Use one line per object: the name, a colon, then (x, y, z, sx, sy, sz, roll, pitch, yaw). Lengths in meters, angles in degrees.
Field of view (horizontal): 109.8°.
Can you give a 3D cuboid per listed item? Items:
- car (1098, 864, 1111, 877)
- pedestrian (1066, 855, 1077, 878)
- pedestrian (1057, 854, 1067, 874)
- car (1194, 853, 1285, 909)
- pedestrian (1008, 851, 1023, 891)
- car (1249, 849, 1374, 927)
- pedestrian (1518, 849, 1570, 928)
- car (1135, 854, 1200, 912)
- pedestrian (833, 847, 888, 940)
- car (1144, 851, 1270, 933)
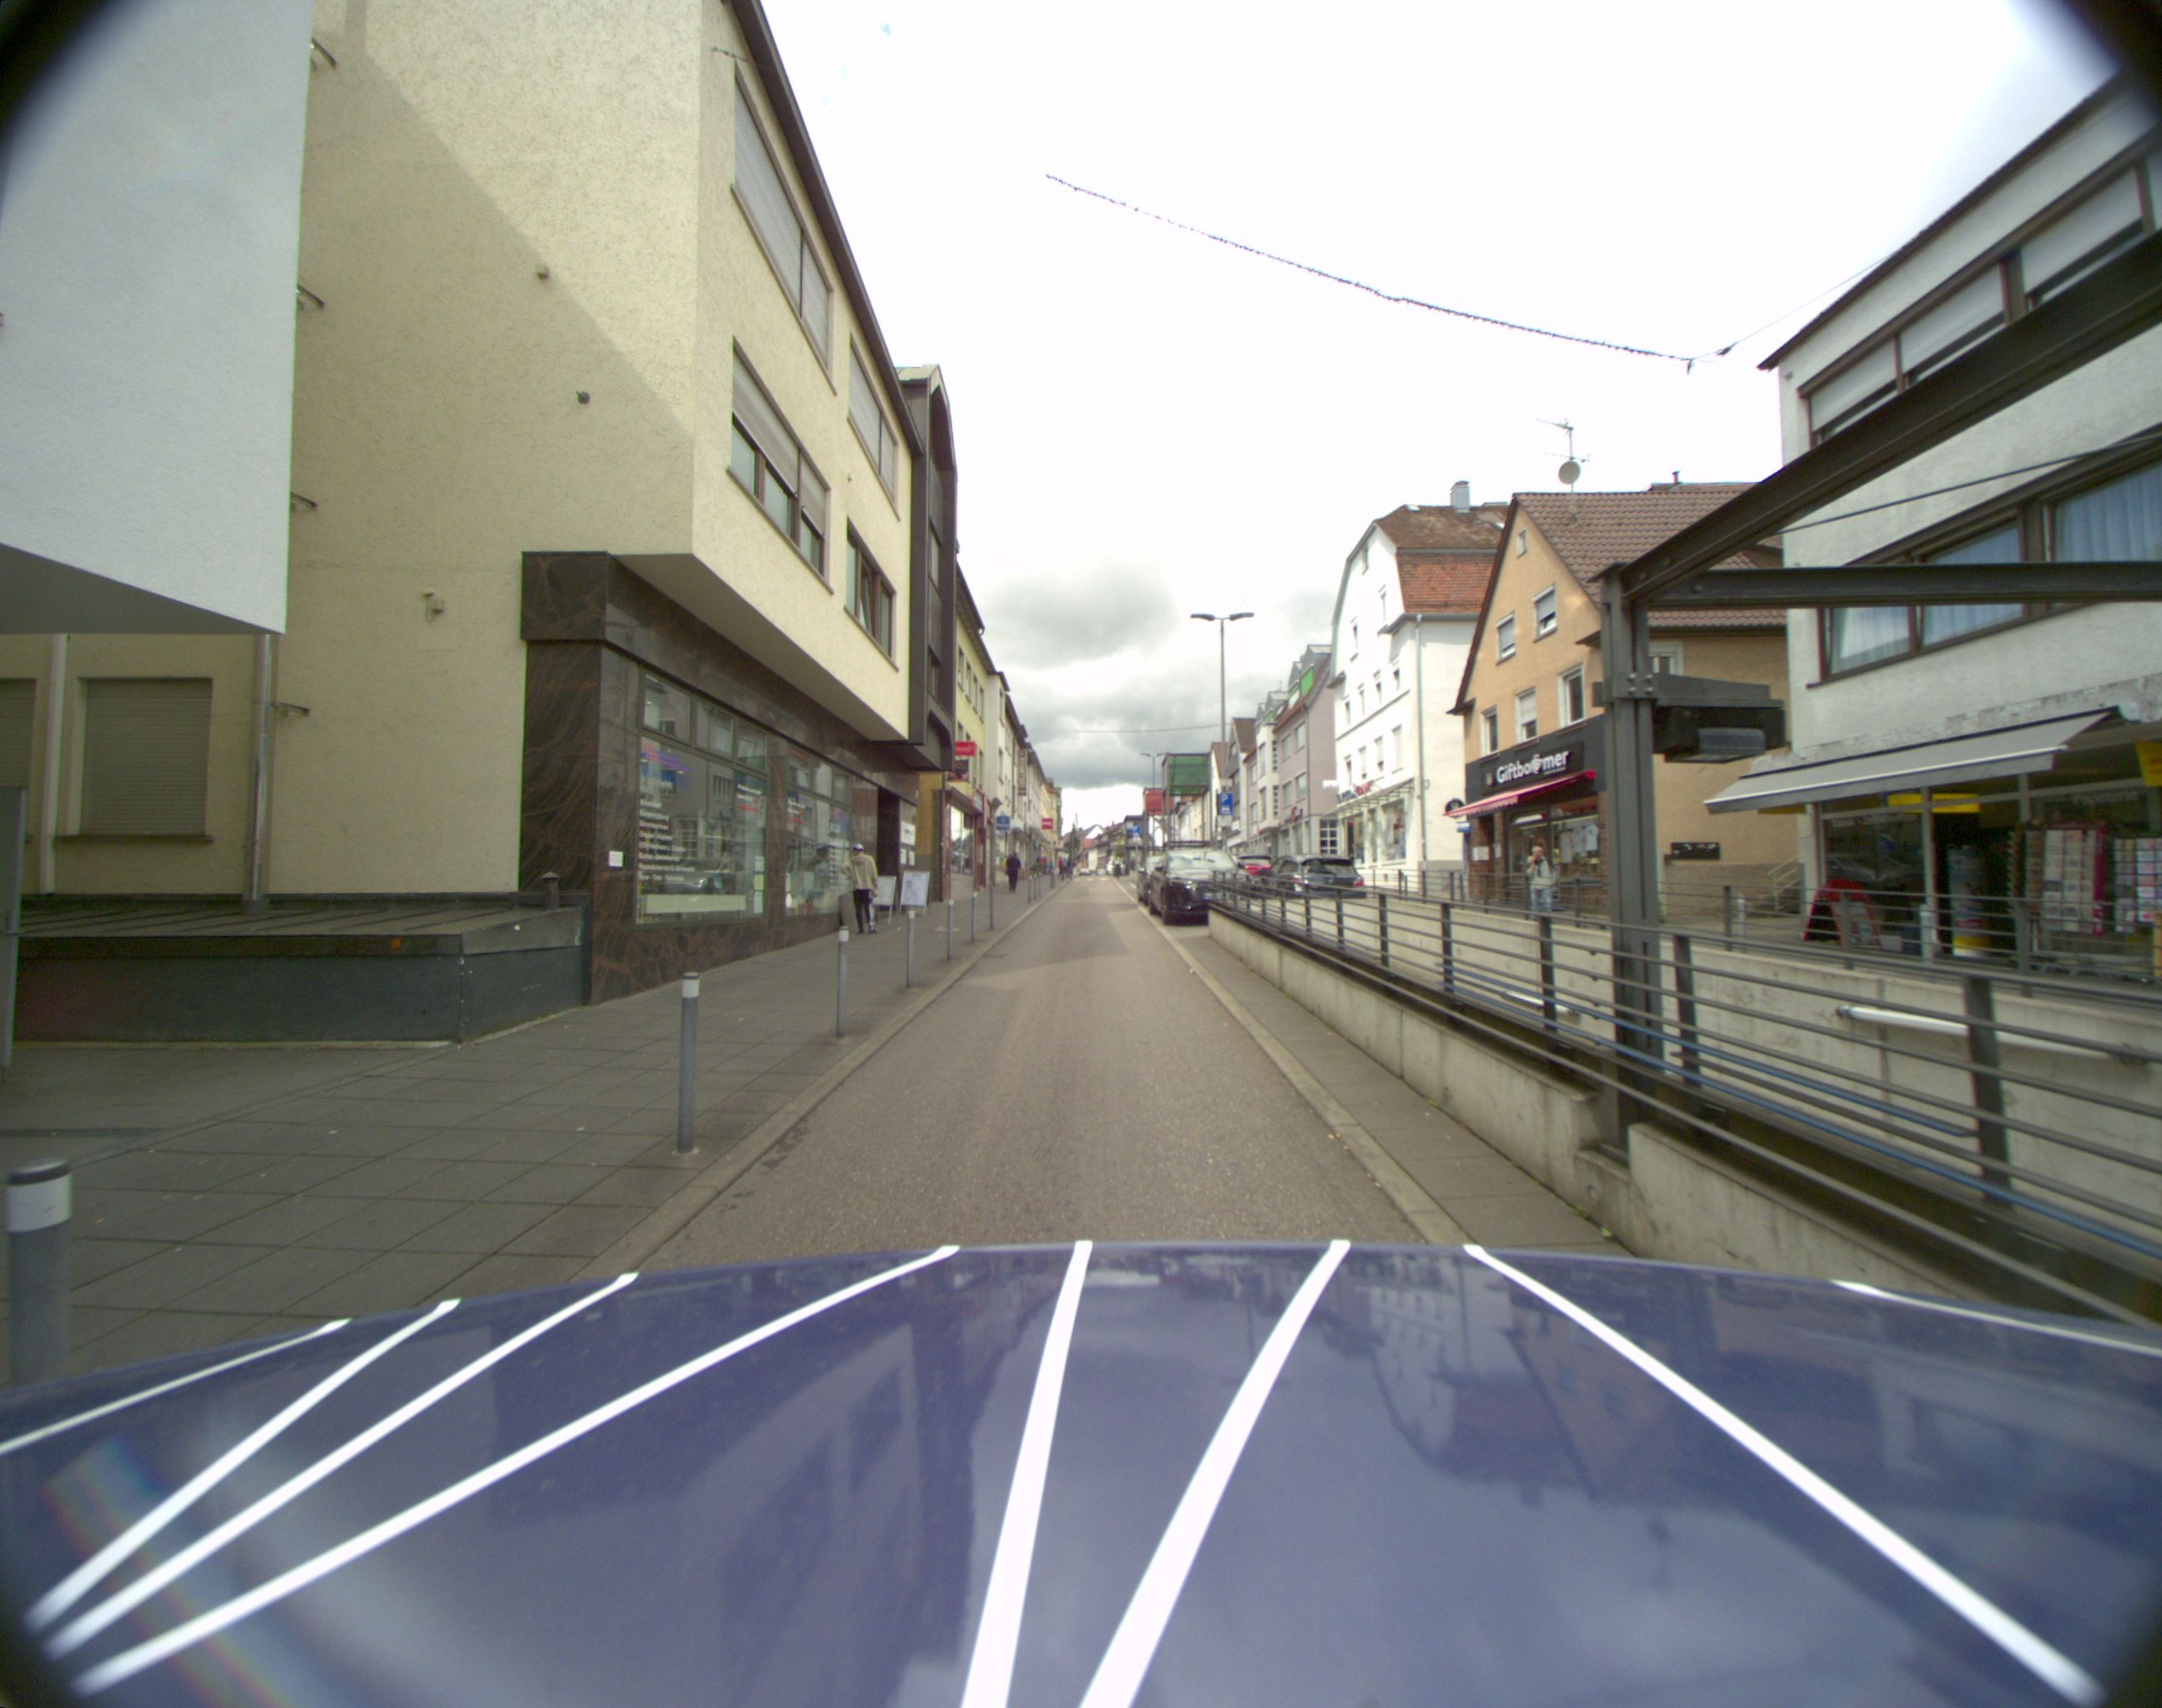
car: (3.867, 2.714, 124.233, 1.998, 2.002, 4.000, 0, 0, 1)
pedestrian: (-0.741, 0.949, 57.907, 0.761, 1.764, 0.851, 0, 1, -6)
pedestrian: (-1.444, 0.764, 57.288, 0.663, 1.519, 0.705, 0, 1, -6)
car: (4.991, 0.788, 24.551, 1.998, 1.580, 4.494, -2, 0, 1)
pedestrian: (-2.785, 0.727, 32.372, 0.639, 1.689, 0.708, 0, 1, -5)
car: (5.149, 0.691, 17.523, 1.703, 1.538, 3.898, -2, 0, 1)
pedestrian: (10.144, 0.744, 16.660, 0.748, 1.704, 0.664, 0, 1, 1)
car: (2.591, 0.825, 23.370, 1.577, 1.600, 3.533, -2, 0, 1)
pedestrian: (-4.119, 0.726, 14.235, 0.760, 1.663, 0.780, 2, 0, -2)
car: (2.665, 0.744, 17.174, 1.999, 1.557, 4.431, -2, 0, -1)
